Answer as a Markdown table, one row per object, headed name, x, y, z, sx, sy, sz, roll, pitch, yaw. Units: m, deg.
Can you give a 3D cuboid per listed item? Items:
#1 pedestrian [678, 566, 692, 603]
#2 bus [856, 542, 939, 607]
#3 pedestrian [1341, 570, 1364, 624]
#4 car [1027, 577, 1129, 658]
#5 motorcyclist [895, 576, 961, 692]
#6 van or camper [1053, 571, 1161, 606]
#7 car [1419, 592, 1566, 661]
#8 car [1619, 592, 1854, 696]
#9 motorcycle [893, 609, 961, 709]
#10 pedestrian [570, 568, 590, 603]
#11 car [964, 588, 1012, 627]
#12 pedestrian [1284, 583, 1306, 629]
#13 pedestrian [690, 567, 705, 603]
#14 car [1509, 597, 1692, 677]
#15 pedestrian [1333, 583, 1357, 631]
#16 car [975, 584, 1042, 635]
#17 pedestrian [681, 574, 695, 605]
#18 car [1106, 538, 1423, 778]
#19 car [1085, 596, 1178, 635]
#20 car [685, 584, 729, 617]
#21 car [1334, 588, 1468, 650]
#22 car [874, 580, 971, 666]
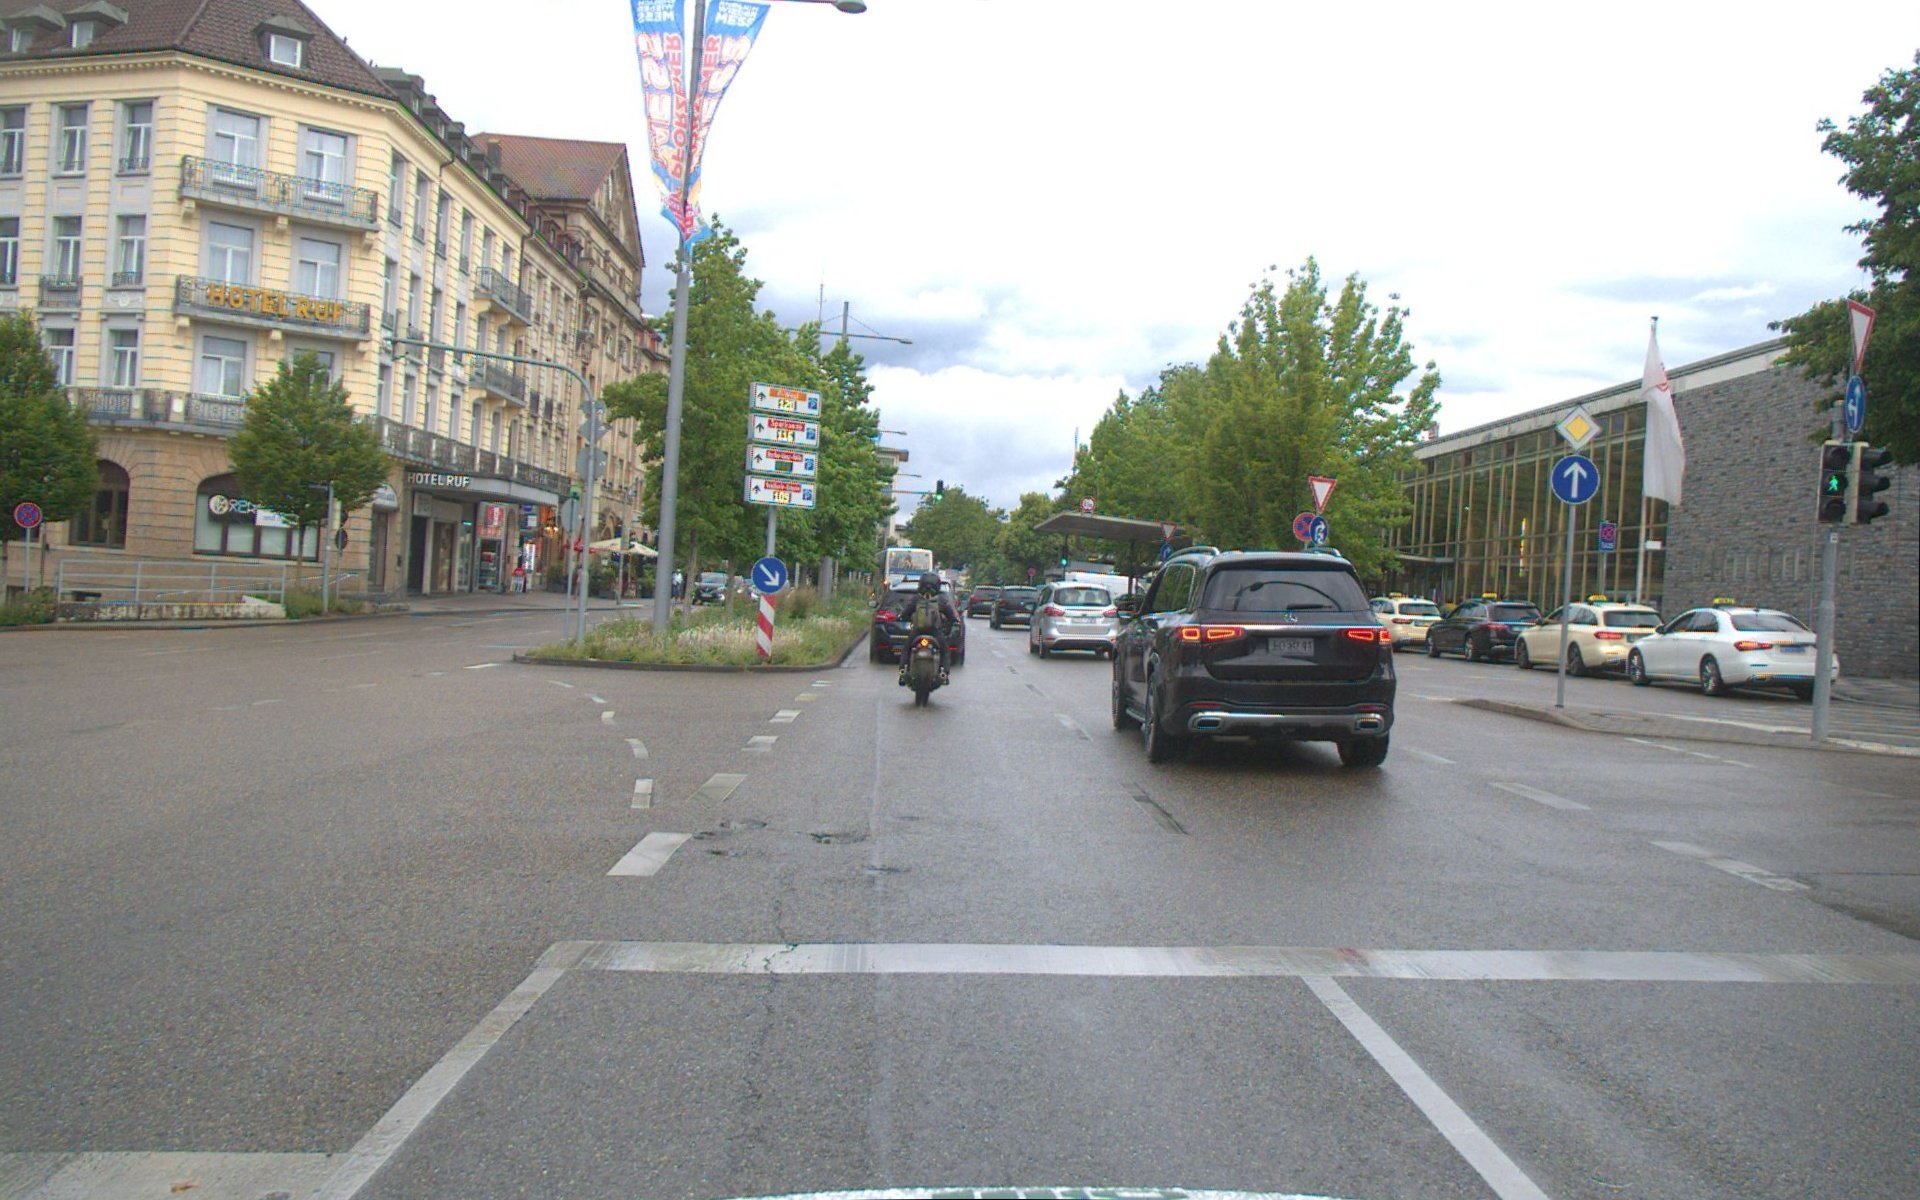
| name | x | y | z | sx | sy | sz | roll | pitch | yaw |
| --- | --- | --- | --- | --- | --- | --- | --- | --- | --- |
| pedestrian | -15.516 | -0.867 | 93.315 | 0.742 | 2.049 | 0.832 | 1 | 0 | -7 |
| bus | -3.666 | -1.375 | 91.919 | 3.687 | 3.265 | 15.508 | 1 | 0 | -6 |
| pedestrian | 18.192 | -0.152 | 76.615 | 0.825 | 2.453 | 0.862 | 1 | 0 | 1 |
| car | 2.458 | 0.331 | 35.406 | 1.813 | 1.594 | 3.999 | 1 | 0 | -1 |
| motorcyclist | -0.383 | 0.401 | 20.090 | 0.749 | 1.354 | 0.866 | 2 | 0 | -1 |
| van or camper | 9.403 | -0.725 | 105.628 | 6.675 | 2.049 | 2.364 | 1 | 0 | -28 |
| car | 12.958 | 0.598 | 40.582 | 1.875 | 1.551 | 4.740 | 1 | 0 | -3 |
| car | 13.290 | 0.692 | 28.645 | 1.739 | 1.617 | 4.614 | 1 | 0 | -2 |
| motorcycle | -0.392 | 0.676 | 19.958 | 0.750 | 1.095 | 2.175 | 2 | 0 | -1 |
| pedestrian | -16.978 | -0.632 | 73.883 | 0.656 | 1.537 | 0.512 | 1 | 0 | -39 |
| car | 1.233 | 0.316 | 74.552 | 1.775 | 1.671 | 3.900 | 2 | 0 | -5 |
| pedestrian | 15.088 | 0.270 | 74.562 | 0.754 | 2.049 | 0.828 | 1 | 0 | -3 |
| pedestrian | -15.217 | -0.885 | 95.864 | 0.742 | 2.049 | 0.832 | 1 | 0 | -7 |
| car | 13.158 | 0.708 | 34.300 | 1.809 | 1.477 | 4.665 | 1 | 0 | -2 |
| pedestrian | 16.462 | 0.290 | 70.685 | 0.754 | 2.049 | 0.828 | 1 | 0 | -3 |
| car | 1.585 | 0.288 | 55.684 | 1.775 | 1.609 | 3.899 | 2 | 0 | -5 |
| pedestrian | -15.368 | -0.589 | 93.608 | 0.661 | 1.731 | 0.633 | 1 | 0 | -1 |
| car | 2.583 | 0.423 | 15.239 | 1.953 | 1.837 | 4.689 | 1 | 1 | -1 |
| car | 8.810 | 0.783 | 84.976 | 4.274 | 1.889 | 1.988 | 2 | 0 | -21 |
| car | -12.163 | 0.024 | 79.633 | 1.736 | 1.557 | 4.075 | 1 | 0 | -4 |
| car | 12.452 | 0.510 | 47.059 | 1.956 | 1.628 | 4.815 | 1 | 0 | -8 |
| car | -0.695 | 0.387 | 31.123 | 1.673 | 1.473 | 3.999 | 1 | 0 | -1 |
